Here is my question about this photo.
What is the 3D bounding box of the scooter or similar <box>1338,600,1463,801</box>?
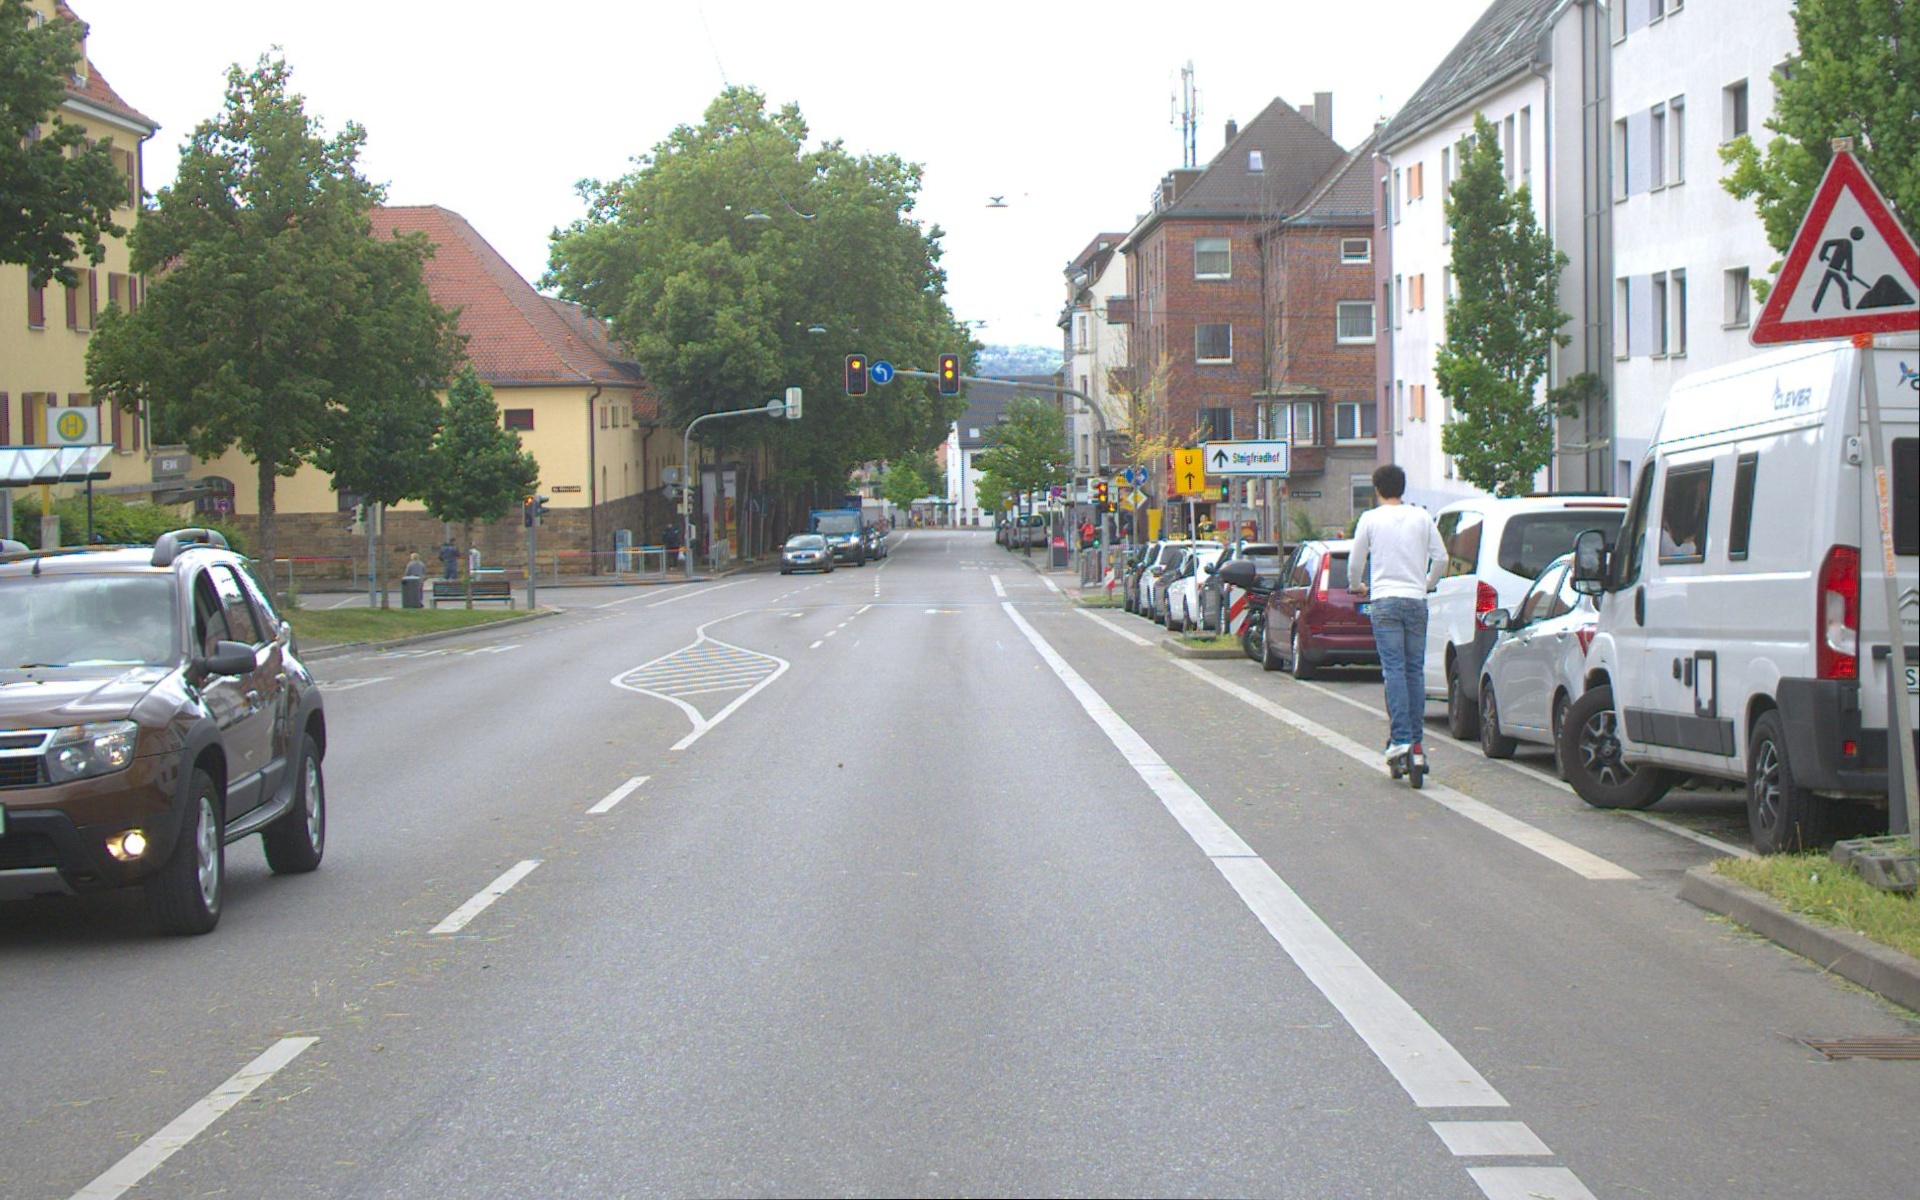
[{"bbox_3d":[2.759,0.601,21.681,0.490,1.159,2.075,0,1,-1],"label":"scooter or similar"}]

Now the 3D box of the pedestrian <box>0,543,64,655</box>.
[{"bbox_3d":[-12.790,-0.018,46.931,0.899,1.504,0.806,1,1,1],"label":"pedestrian"}]

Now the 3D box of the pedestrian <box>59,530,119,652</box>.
[{"bbox_3d":[-12.415,-0.140,49.017,0.597,1.721,0.861,0,1,2],"label":"pedestrian"}]

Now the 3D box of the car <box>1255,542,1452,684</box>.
[{"bbox_3d":[4.501,0.105,39.888,1.680,1.539,4.339,0,1,-1],"label":"car"}]

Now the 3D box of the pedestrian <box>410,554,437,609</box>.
[{"bbox_3d":[-15.340,-0.530,98.309,0.564,1.561,0.842,0,1,5],"label":"pedestrian"}]

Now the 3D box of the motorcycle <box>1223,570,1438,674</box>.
[{"bbox_3d":[4.658,0.268,43.331,2.597,1.274,0.753,0,1,-4],"label":"motorcycle"}]

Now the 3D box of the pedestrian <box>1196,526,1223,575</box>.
[{"bbox_3d":[8.606,-1.721,118.677,0.788,1.650,0.772,-3,1,1],"label":"pedestrian"}]

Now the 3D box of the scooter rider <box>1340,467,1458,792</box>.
[{"bbox_3d":[2.762,0.174,21.679,0.625,2.007,0.758,0,1,-1],"label":"scooter rider"}]

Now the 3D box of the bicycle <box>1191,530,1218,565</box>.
[{"bbox_3d":[8.480,-1.817,119.236,0.760,1.189,2.392,0,1,0],"label":"bicycle"}]

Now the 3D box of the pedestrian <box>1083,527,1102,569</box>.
[{"bbox_3d":[5.119,-2.000,132.604,0.565,1.631,0.680,0,1,20],"label":"pedestrian"}]

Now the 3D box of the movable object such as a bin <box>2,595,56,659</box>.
[{"bbox_3d":[-12.629,0.365,46.627,0.536,0.843,0.665,1,1,1],"label":"movable object such as a bin"}]

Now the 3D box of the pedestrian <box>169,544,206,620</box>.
[{"bbox_3d":[-16.464,-0.387,73.299,0.640,1.613,0.618,0,1,-1],"label":"pedestrian"}]

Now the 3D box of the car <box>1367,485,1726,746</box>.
[{"bbox_3d":[4.693,0.055,28.305,1.993,1.937,5.212,0,1,-1],"label":"car"}]

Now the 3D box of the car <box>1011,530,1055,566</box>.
[{"bbox_3d":[3.917,-2.810,185.137,1.993,1.929,4.920,0,1,-3],"label":"car"}]

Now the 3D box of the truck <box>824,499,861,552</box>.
[{"bbox_3d":[-7.555,-4.793,221.424,2.231,3.335,7.450,0,1,-1],"label":"truck"}]

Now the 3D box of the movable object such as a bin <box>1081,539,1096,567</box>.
[{"bbox_3d":[4.952,-1.814,132.424,0.453,1.053,0.410,0,1,20],"label":"movable object such as a bin"}]

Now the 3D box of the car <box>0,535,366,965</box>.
[{"bbox_3d":[-3.966,0.531,15.140,1.899,1.614,4.362,-1,1,0],"label":"car"}]

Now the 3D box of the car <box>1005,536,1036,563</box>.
[{"bbox_3d":[3.665,-3.076,208.817,1.668,1.542,3.757,0,1,-3],"label":"car"}]

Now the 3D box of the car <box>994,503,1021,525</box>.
[{"bbox_3d":[3.276,-5.951,237.770,1.668,1.542,3.757,0,1,-3],"label":"car"}]

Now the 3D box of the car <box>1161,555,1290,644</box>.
[{"bbox_3d":[4.533,-0.035,59.283,1.730,1.409,4.500,1,1,-2],"label":"car"}]

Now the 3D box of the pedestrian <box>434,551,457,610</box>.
[{"bbox_3d":[-15.640,-0.590,104.541,0.564,1.771,0.842,0,1,0],"label":"pedestrian"}]

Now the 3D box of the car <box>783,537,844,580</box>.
[{"bbox_3d":[-5.253,-1.503,123.456,1.756,1.467,4.306,-2,1,3],"label":"car"}]

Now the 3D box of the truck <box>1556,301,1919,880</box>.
[{"bbox_3d":[4.711,-0.111,18.060,2.052,2.556,5.690,0,1,-1],"label":"truck"}]

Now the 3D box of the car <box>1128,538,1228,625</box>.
[{"bbox_3d":[4.513,-0.411,71.695,1.658,1.710,4.552,1,1,-2],"label":"car"}]

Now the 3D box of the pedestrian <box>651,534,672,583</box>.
[{"bbox_3d":[-10.967,-1.529,126.475,0.674,1.759,0.725,0,1,3],"label":"pedestrian"}]

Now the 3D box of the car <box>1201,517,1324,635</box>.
[{"bbox_3d":[4.700,-0.416,53.856,1.632,1.644,4.356,1,3,2],"label":"car"}]

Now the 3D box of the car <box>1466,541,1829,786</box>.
[{"bbox_3d":[4.541,0.365,23.205,1.525,1.480,3.727,1,1,-3],"label":"car"}]

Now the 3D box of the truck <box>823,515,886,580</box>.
[{"bbox_3d":[-4.144,-2.073,134.596,2.295,2.419,6.412,-2,1,-3],"label":"truck"}]
